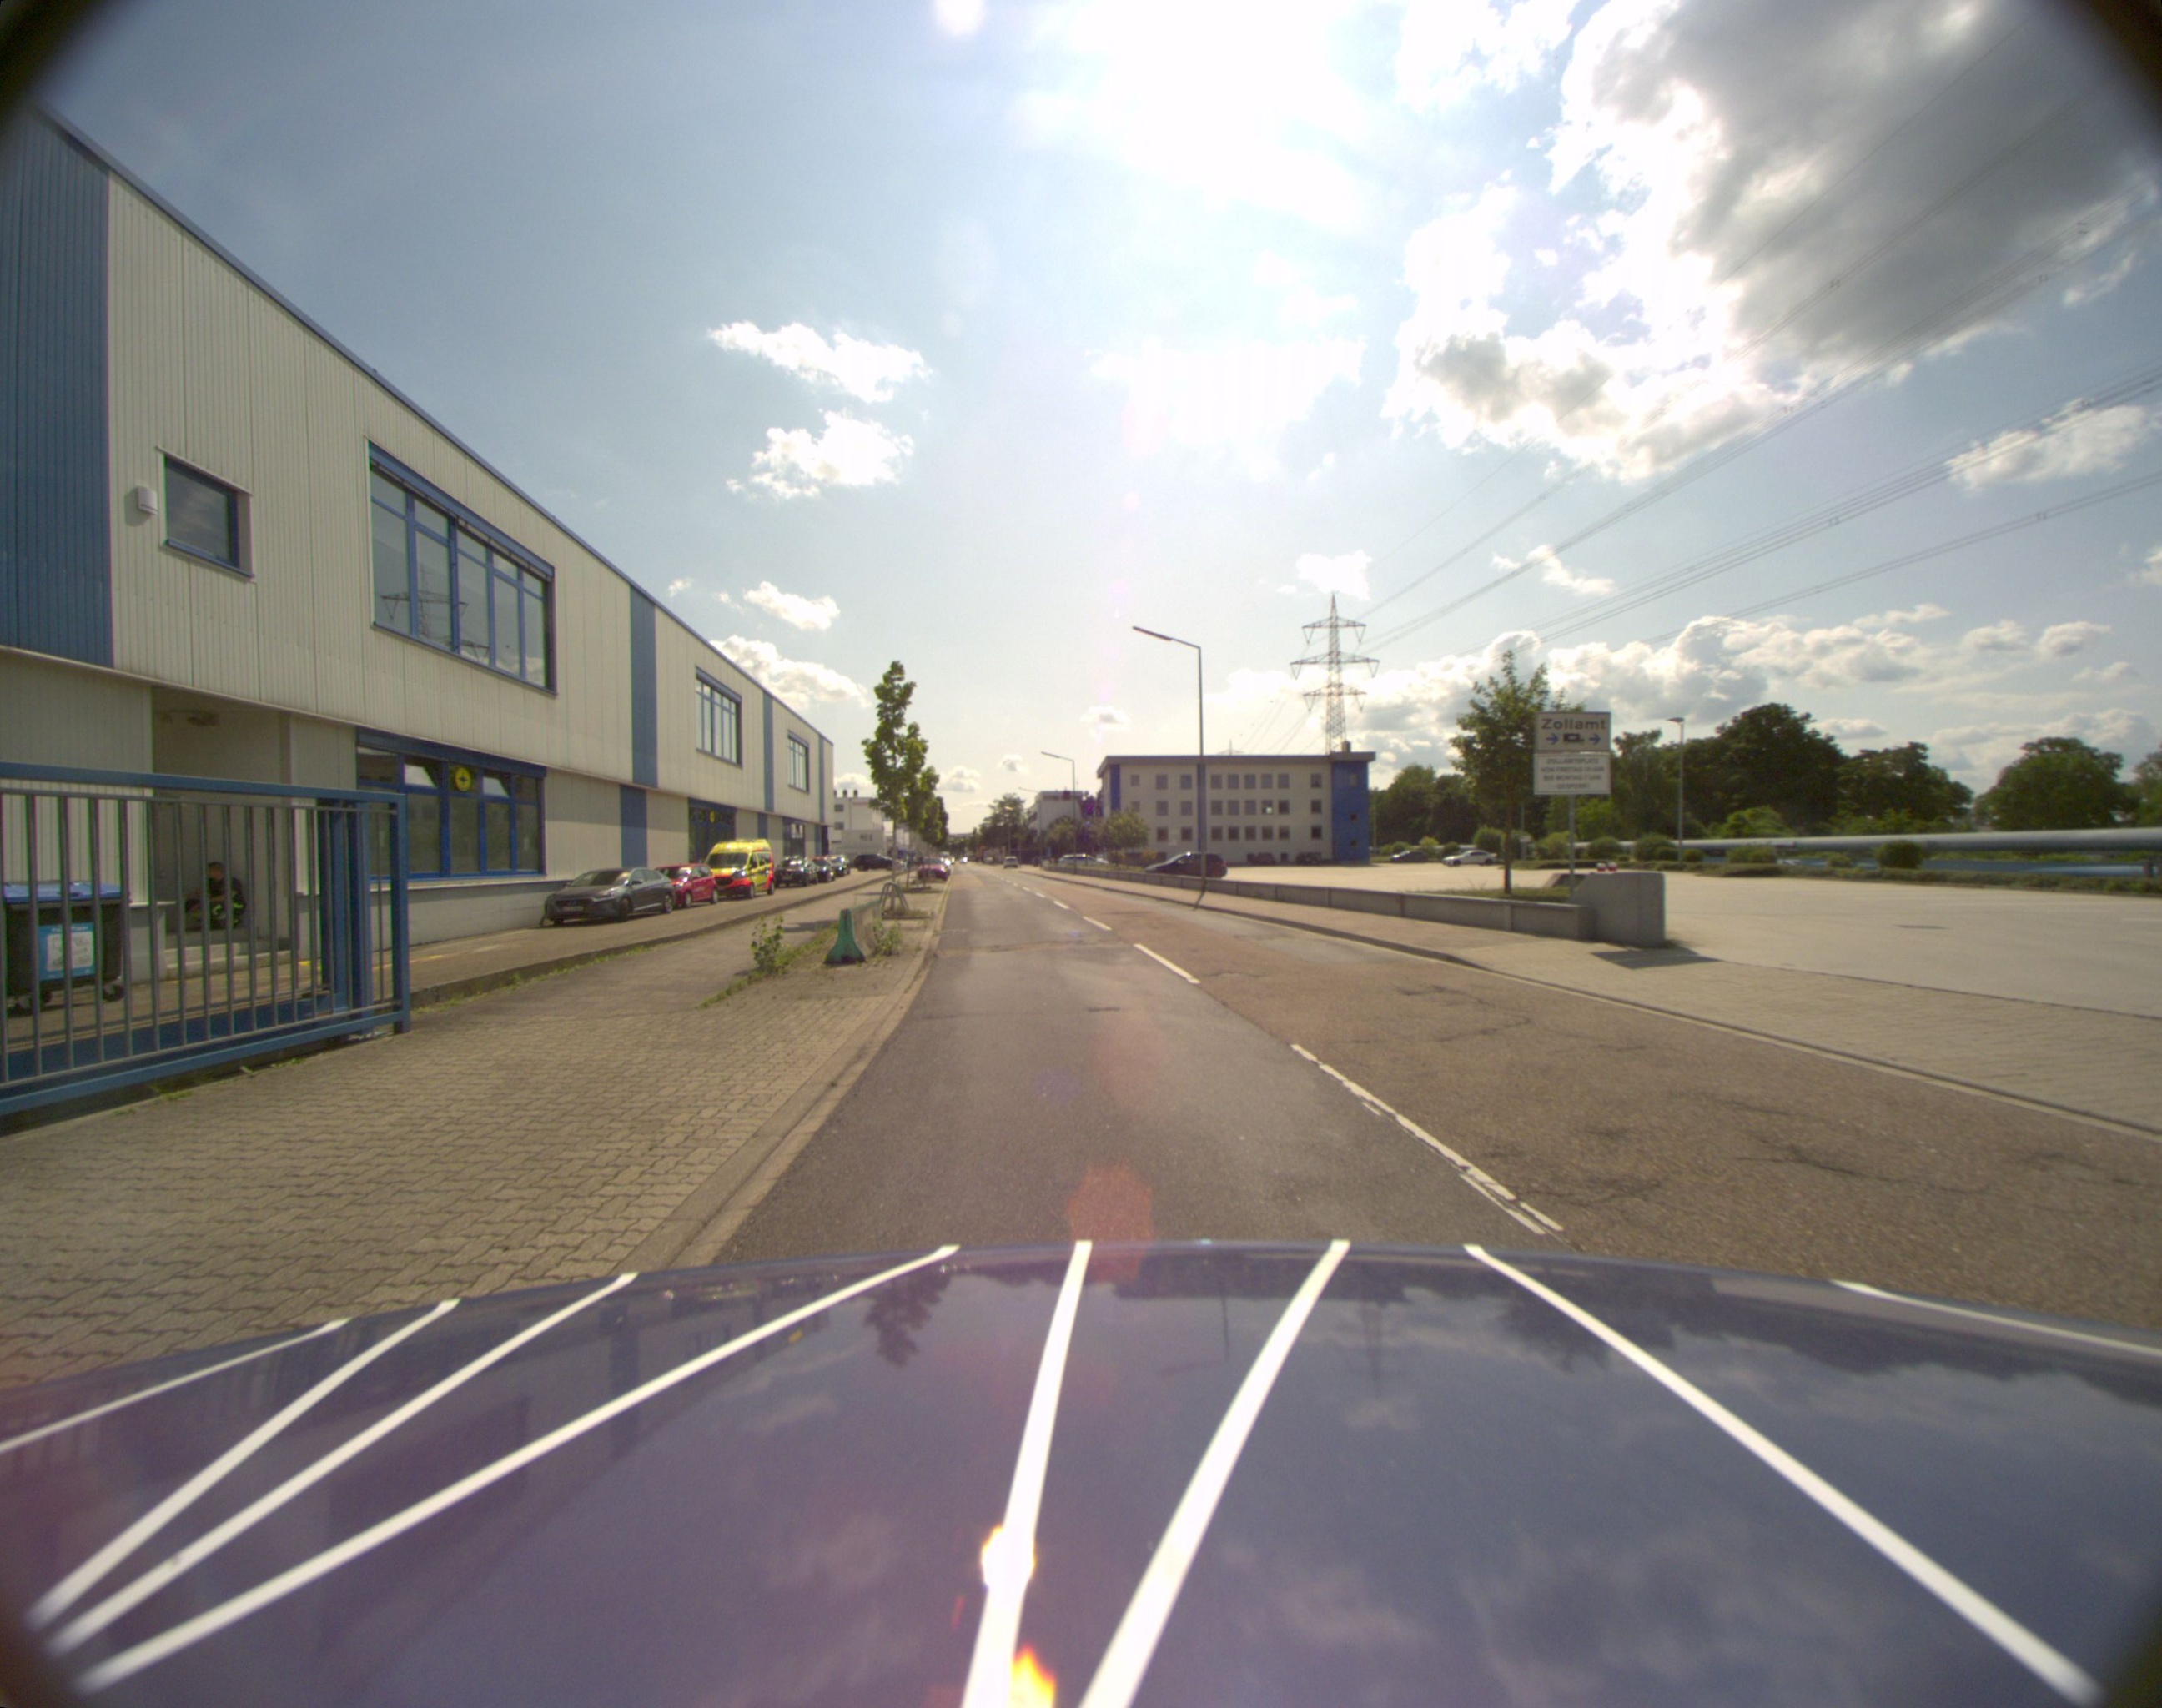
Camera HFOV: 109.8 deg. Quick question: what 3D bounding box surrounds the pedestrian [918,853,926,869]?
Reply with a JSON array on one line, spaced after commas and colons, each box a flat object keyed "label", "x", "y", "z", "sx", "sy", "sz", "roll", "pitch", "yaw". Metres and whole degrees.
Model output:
[{"label": "pedestrian", "x": -17.797, "y": 0.777, "z": 84.907, "sx": 0.772, "sy": 1.746, "sz": 0.786, "roll": 1, "pitch": 1, "yaw": -10}]

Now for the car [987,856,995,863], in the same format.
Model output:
[{"label": "car", "x": -21.271, "y": 1.318, "z": 179.584, "sx": 1.678, "sy": 1.447, "sz": 4.509, "roll": -3, "pitch": 1, "yaw": -9}]

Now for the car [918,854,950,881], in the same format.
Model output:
[{"label": "car", "x": -9.650, "y": 0.832, "z": 50.025, "sx": 1.760, "sy": 1.641, "sz": 4.673, "roll": -2, "pitch": 1, "yaw": -8}]

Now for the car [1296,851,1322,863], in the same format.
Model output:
[{"label": "car", "x": 25.415, "y": 0.320, "z": 84.803, "sx": 1.567, "sy": 1.368, "sz": 3.678, "roll": -1, "pitch": 1, "yaw": -5}]

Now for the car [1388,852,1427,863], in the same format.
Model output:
[{"label": "car", "x": 37.153, "y": 0.372, "z": 86.575, "sx": 3.607, "sy": 1.244, "sz": 1.803, "roll": -1, "pitch": 0, "yaw": -1}]

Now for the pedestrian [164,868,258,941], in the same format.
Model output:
[{"label": "pedestrian", "x": -13.755, "y": 0.784, "z": 12.037, "sx": 0.566, "sy": 1.069, "sz": 0.750, "roll": -4, "pitch": 1, "yaw": -8}]

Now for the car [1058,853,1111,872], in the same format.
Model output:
[{"label": "car", "x": 0.333, "y": 0.804, "z": 71.821, "sx": 4.770, "sy": 1.593, "sz": 1.998, "roll": -2, "pitch": 1, "yaw": -9}]

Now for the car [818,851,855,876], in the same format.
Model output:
[{"label": "car", "x": -17.523, "y": 0.620, "z": 54.635, "sx": 1.833, "sy": 1.504, "sz": 4.635, "roll": -1, "pitch": 3, "yaw": -9}]

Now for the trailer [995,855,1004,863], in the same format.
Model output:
[{"label": "trailer", "x": -17.520, "y": 1.112, "z": 163.246, "sx": 1.772, "sy": 1.431, "sz": 4.332, "roll": -4, "pitch": 1, "yaw": -9}]

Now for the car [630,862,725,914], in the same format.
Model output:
[{"label": "car", "x": -13.419, "y": 1.070, "z": 25.514, "sx": 1.578, "sy": 1.482, "sz": 3.813, "roll": -2, "pitch": 1, "yaw": -9}]

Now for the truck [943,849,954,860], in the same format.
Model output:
[{"label": "truck", "x": -41.275, "y": 0.119, "z": 236.964, "sx": 2.609, "sy": 3.207, "sz": 8.068, "roll": -4, "pitch": 1, "yaw": -13}]

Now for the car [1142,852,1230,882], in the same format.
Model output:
[{"label": "car", "x": 5.256, "y": 0.621, "z": 38.139, "sx": 4.000, "sy": 1.368, "sz": 1.802, "roll": -1, "pitch": 0, "yaw": -9}]

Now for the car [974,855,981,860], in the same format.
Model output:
[{"label": "car", "x": -32.581, "y": 1.212, "z": 239.299, "sx": 1.716, "sy": 1.459, "sz": 4.625, "roll": -4, "pitch": 1, "yaw": -10}]

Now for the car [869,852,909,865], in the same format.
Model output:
[{"label": "car", "x": -21.204, "y": 0.516, "z": 84.007, "sx": 4.000, "sy": 1.412, "sz": 1.998, "roll": 0, "pitch": 0, "yaw": -8}]

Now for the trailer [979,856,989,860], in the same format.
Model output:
[{"label": "trailer", "x": -28.269, "y": 1.132, "z": 221.279, "sx": 2.459, "sy": 1.157, "sz": 6.047, "roll": -3, "pitch": 1, "yaw": -10}]

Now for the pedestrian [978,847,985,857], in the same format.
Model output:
[{"label": "pedestrian", "x": -19.813, "y": -0.463, "z": 151.820, "sx": 0.994, "sy": 1.940, "sz": 1.088, "roll": -1, "pitch": 1, "yaw": -32}]

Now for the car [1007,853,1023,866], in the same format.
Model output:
[{"label": "car", "x": -9.450, "y": 0.736, "z": 108.911, "sx": 1.874, "sy": 1.698, "sz": 4.748, "roll": -2, "pitch": 1, "yaw": -9}]

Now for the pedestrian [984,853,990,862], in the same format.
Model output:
[{"label": "pedestrian", "x": -18.848, "y": 0.684, "z": 152.485, "sx": 0.860, "sy": 1.797, "sz": 1.003, "roll": -1, "pitch": 1, "yaw": -32}]

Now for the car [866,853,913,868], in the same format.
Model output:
[{"label": "car", "x": -18.760, "y": 0.586, "z": 74.614, "sx": 4.293, "sy": 1.412, "sz": 1.998, "roll": 0, "pitch": 0, "yaw": -8}]

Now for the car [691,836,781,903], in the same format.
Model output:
[{"label": "car", "x": -14.057, "y": 0.559, "z": 31.320, "sx": 1.930, "sy": 2.449, "sz": 5.255, "roll": -2, "pitch": 1, "yaw": -9}]

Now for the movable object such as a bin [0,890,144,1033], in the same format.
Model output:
[{"label": "movable object such as a bin", "x": -11.667, "y": 1.157, "z": 8.455, "sx": 0.807, "sy": 1.405, "sz": 1.356, "roll": -2, "pitch": 1, "yaw": -10}]

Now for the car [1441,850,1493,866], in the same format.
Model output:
[{"label": "car", "x": 35.244, "y": 0.359, "z": 69.495, "sx": 3.822, "sy": 1.465, "sz": 1.804, "roll": -1, "pitch": 0, "yaw": 4}]

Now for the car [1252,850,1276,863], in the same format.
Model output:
[{"label": "car", "x": 20.510, "y": 0.268, "z": 85.302, "sx": 1.567, "sy": 1.368, "sz": 3.678, "roll": -1, "pitch": 0, "yaw": -5}]

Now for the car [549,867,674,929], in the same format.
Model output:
[{"label": "car", "x": -12.728, "y": 1.128, "z": 20.874, "sx": 1.501, "sy": 1.395, "sz": 3.851, "roll": -2, "pitch": 1, "yaw": -9}]

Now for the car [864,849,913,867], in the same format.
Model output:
[{"label": "car", "x": -18.218, "y": 0.351, "z": 72.072, "sx": 4.240, "sy": 1.637, "sz": 2.146, "roll": -1, "pitch": 0, "yaw": -10}]

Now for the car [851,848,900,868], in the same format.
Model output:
[{"label": "car", "x": -18.760, "y": 0.335, "z": 69.598, "sx": 4.098, "sy": 1.676, "sz": 1.998, "roll": -1, "pitch": 0, "yaw": -10}]

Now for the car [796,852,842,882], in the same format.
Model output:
[{"label": "car", "x": -16.447, "y": 0.781, "z": 47.924, "sx": 2.000, "sy": 1.648, "sz": 4.285, "roll": -1, "pitch": 2, "yaw": -9}]

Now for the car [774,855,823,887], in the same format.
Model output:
[{"label": "car", "x": -15.743, "y": 0.904, "z": 42.575, "sx": 1.720, "sy": 1.642, "sz": 4.210, "roll": -1, "pitch": 1, "yaw": -9}]

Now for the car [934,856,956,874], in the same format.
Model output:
[{"label": "car", "x": -12.209, "y": 0.974, "z": 68.439, "sx": 1.841, "sy": 1.512, "sz": 4.457, "roll": -2, "pitch": 1, "yaw": -9}]
